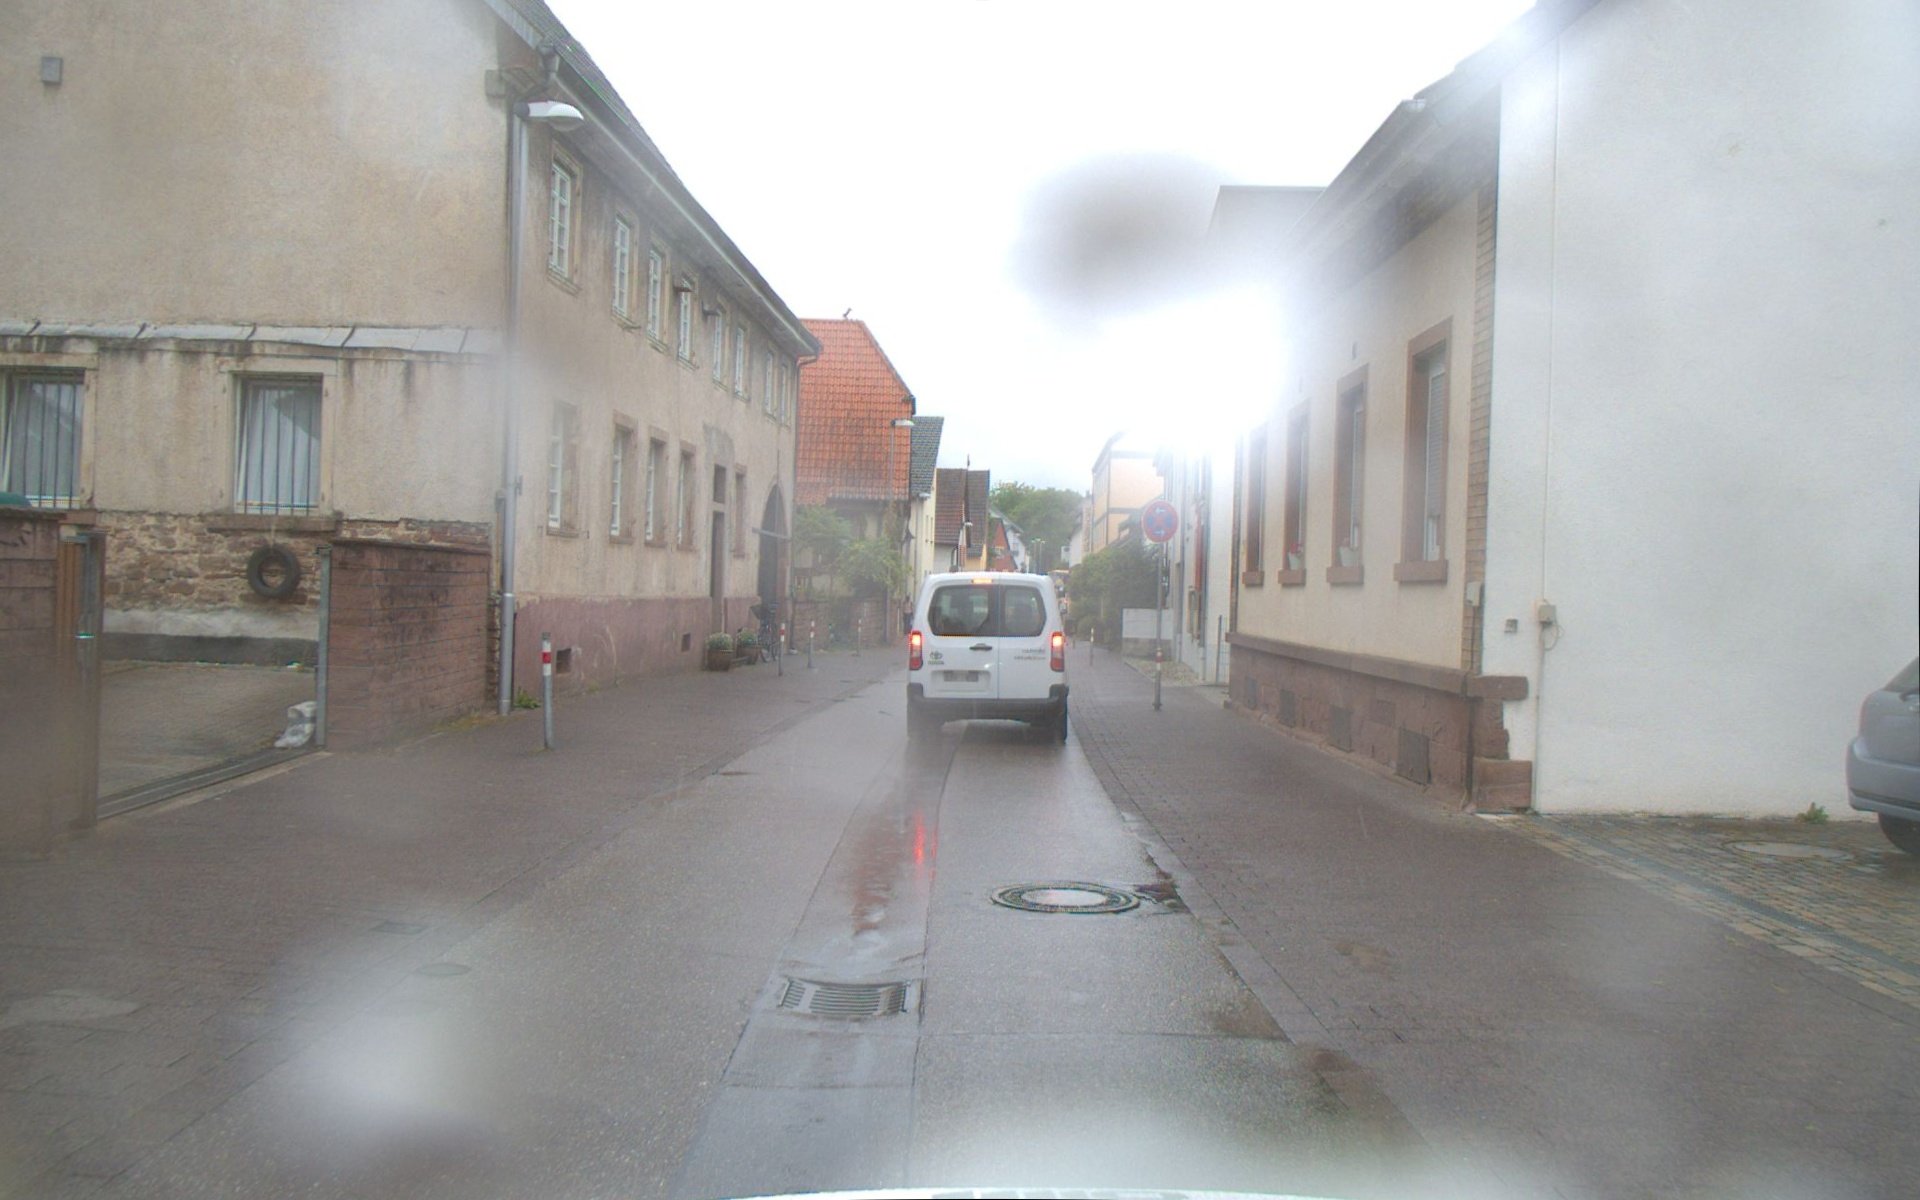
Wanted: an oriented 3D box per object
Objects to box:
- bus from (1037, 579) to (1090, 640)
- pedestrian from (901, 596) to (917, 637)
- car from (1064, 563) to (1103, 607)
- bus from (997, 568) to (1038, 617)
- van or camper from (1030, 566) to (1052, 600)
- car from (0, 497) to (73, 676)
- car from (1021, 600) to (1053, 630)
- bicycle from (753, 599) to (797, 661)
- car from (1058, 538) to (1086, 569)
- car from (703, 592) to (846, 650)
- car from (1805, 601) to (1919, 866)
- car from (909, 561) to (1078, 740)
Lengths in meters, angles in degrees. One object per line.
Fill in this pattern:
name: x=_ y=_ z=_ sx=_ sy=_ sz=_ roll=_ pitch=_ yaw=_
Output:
bus: x=5.922 y=0.589 z=95.733 sx=2.735 sy=3.235 sz=8.180 roll=4 pitch=-1 yaw=3
pedestrian: x=-1.937 y=0.641 z=62.967 sx=0.556 sy=1.557 sz=0.568 roll=1 pitch=-1 yaw=-7
car: x=6.205 y=-0.730 z=83.644 sx=1.789 sy=2.049 sz=3.695 roll=3 pitch=-1 yaw=3
bus: x=4.385 y=-0.521 z=124.399 sx=2.735 sy=3.387 sz=8.180 roll=4 pitch=-1 yaw=3
van or camper: x=7.497 y=-1.540 z=152.404 sx=1.797 sy=2.976 sz=5.365 roll=3 pitch=-1 yaw=4
car: x=-10.371 y=-0.118 z=15.497 sx=1.946 sy=1.745 sz=4.304 roll=2 pitch=3 yaw=-3
car: x=3.942 y=0.783 z=84.576 sx=1.529 sy=1.395 sz=3.586 roll=3 pitch=-1 yaw=4
bicycle: x=-3.728 y=0.596 z=33.388 sx=0.473 sy=1.200 sz=1.836 roll=3 pitch=-1 yaw=5
car: x=8.311 y=-3.445 z=122.698 sx=1.952 sy=2.049 sz=4.002 roll=3 pitch=-1 yaw=4
car: x=-4.887 y=0.552 z=43.834 sx=3.453 sy=1.400 sz=1.595 roll=2 pitch=0 yaw=5
car: x=7.421 y=0.847 z=9.863 sx=3.819 sy=1.524 sz=1.850 roll=2 pitch=-1 yaw=-5
car: x=0.474 y=0.544 z=19.252 sx=1.757 sy=1.850 sz=4.103 roll=0 pitch=-1 yaw=3
